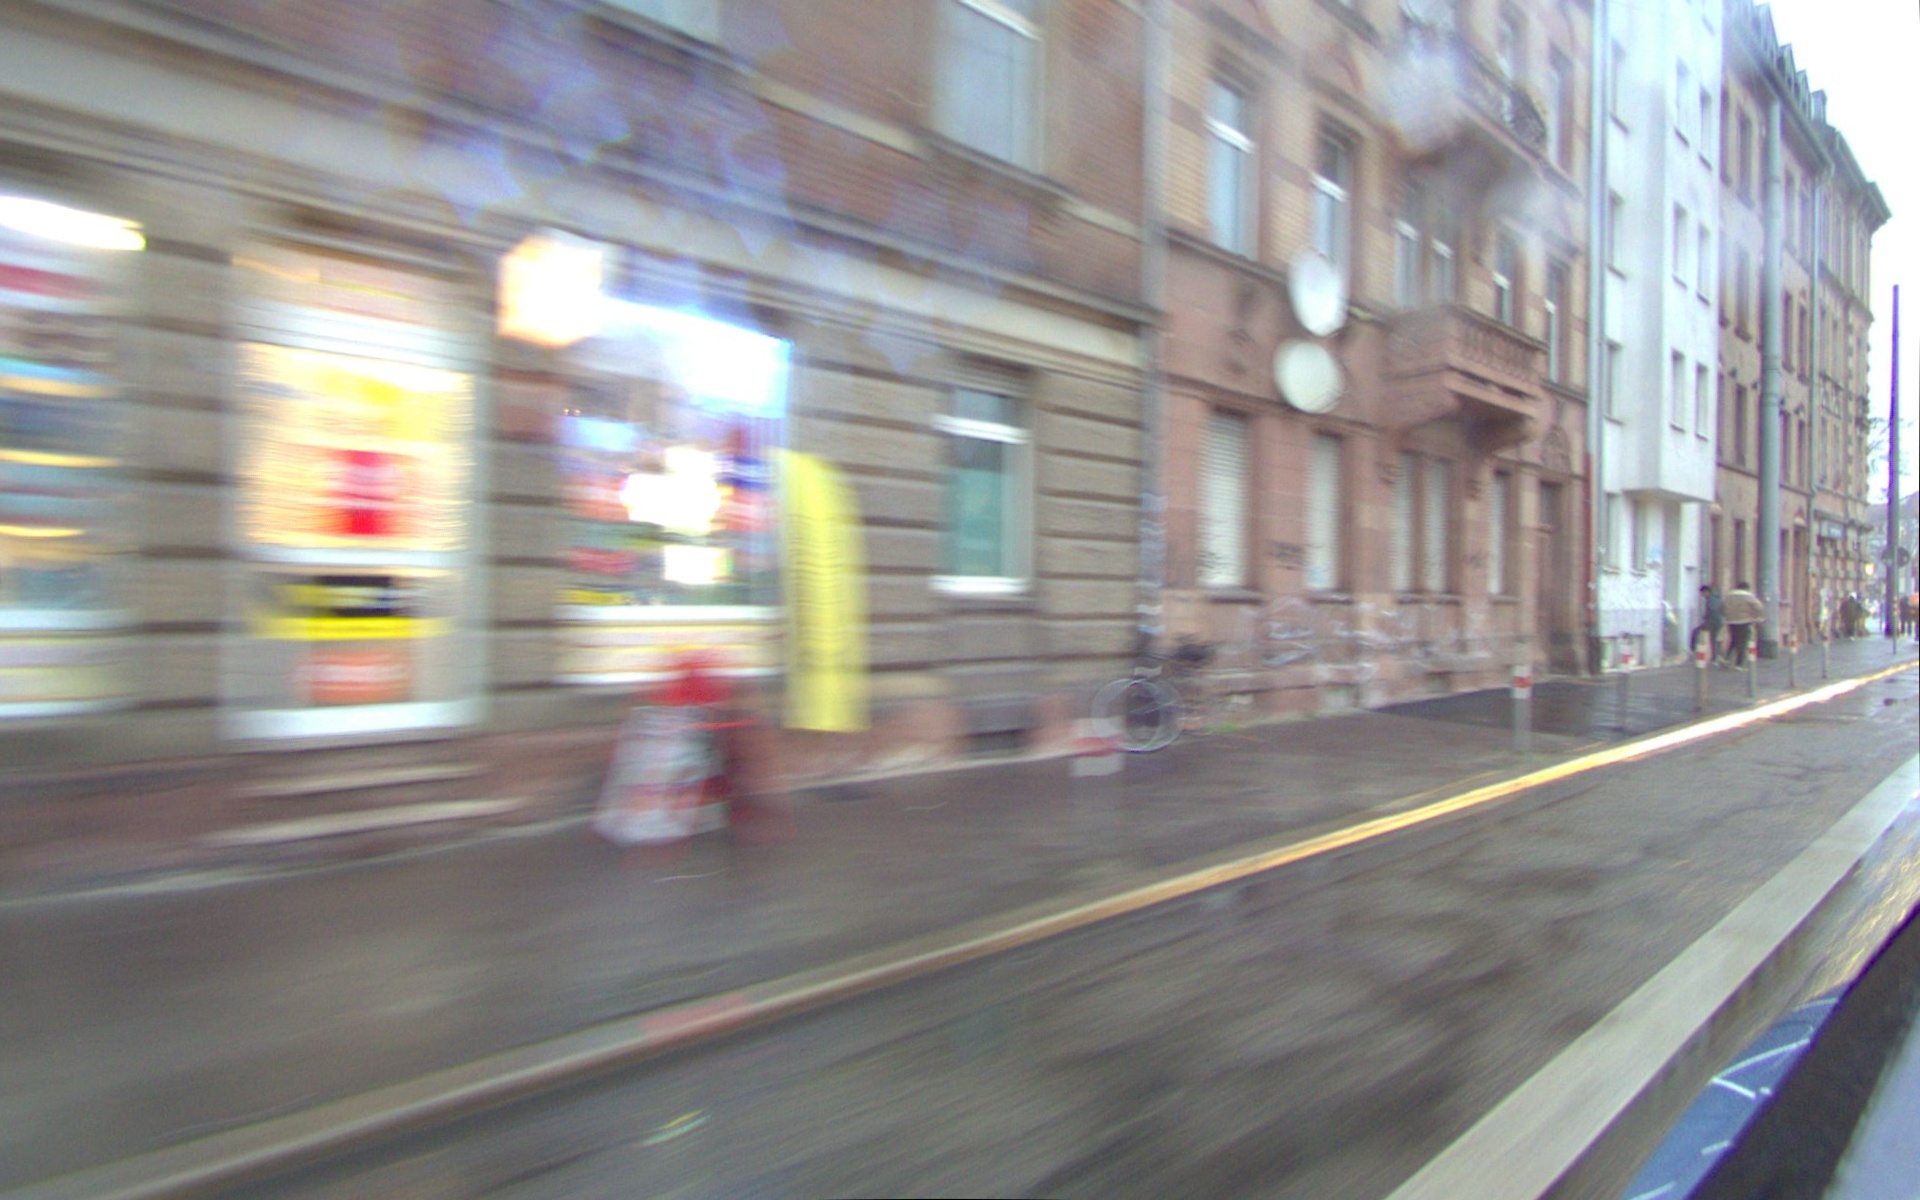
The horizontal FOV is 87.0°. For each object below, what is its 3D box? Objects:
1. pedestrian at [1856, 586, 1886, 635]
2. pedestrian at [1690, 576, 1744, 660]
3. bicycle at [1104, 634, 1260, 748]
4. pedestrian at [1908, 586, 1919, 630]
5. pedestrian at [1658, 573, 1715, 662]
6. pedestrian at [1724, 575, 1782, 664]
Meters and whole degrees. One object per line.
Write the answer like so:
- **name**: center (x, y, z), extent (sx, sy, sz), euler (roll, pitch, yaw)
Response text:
- **pedestrian**: center (29.712, 0.341, 33.006), extent (0.698, 1.568, 0.633), euler (0, 0, -41)
- **pedestrian**: center (16.308, 0.370, 21.808), extent (0.661, 1.766, 0.777), euler (0, 1, -40)
- **bicycle**: center (2.113, 0.809, 9.473), extent (1.834, 0.922, 0.398), euler (0, 1, -41)
- **pedestrian**: center (40.431, 0.350, 42.541), extent (0.697, 1.848, 0.753), euler (0, 0, -37)
- **pedestrian**: center (14.923, 0.341, 20.784), extent (0.661, 1.766, 0.777), euler (0, 1, -40)
- **pedestrian**: center (16.041, 0.376, 20.468), extent (0.661, 1.766, 0.777), euler (0, 1, -40)
